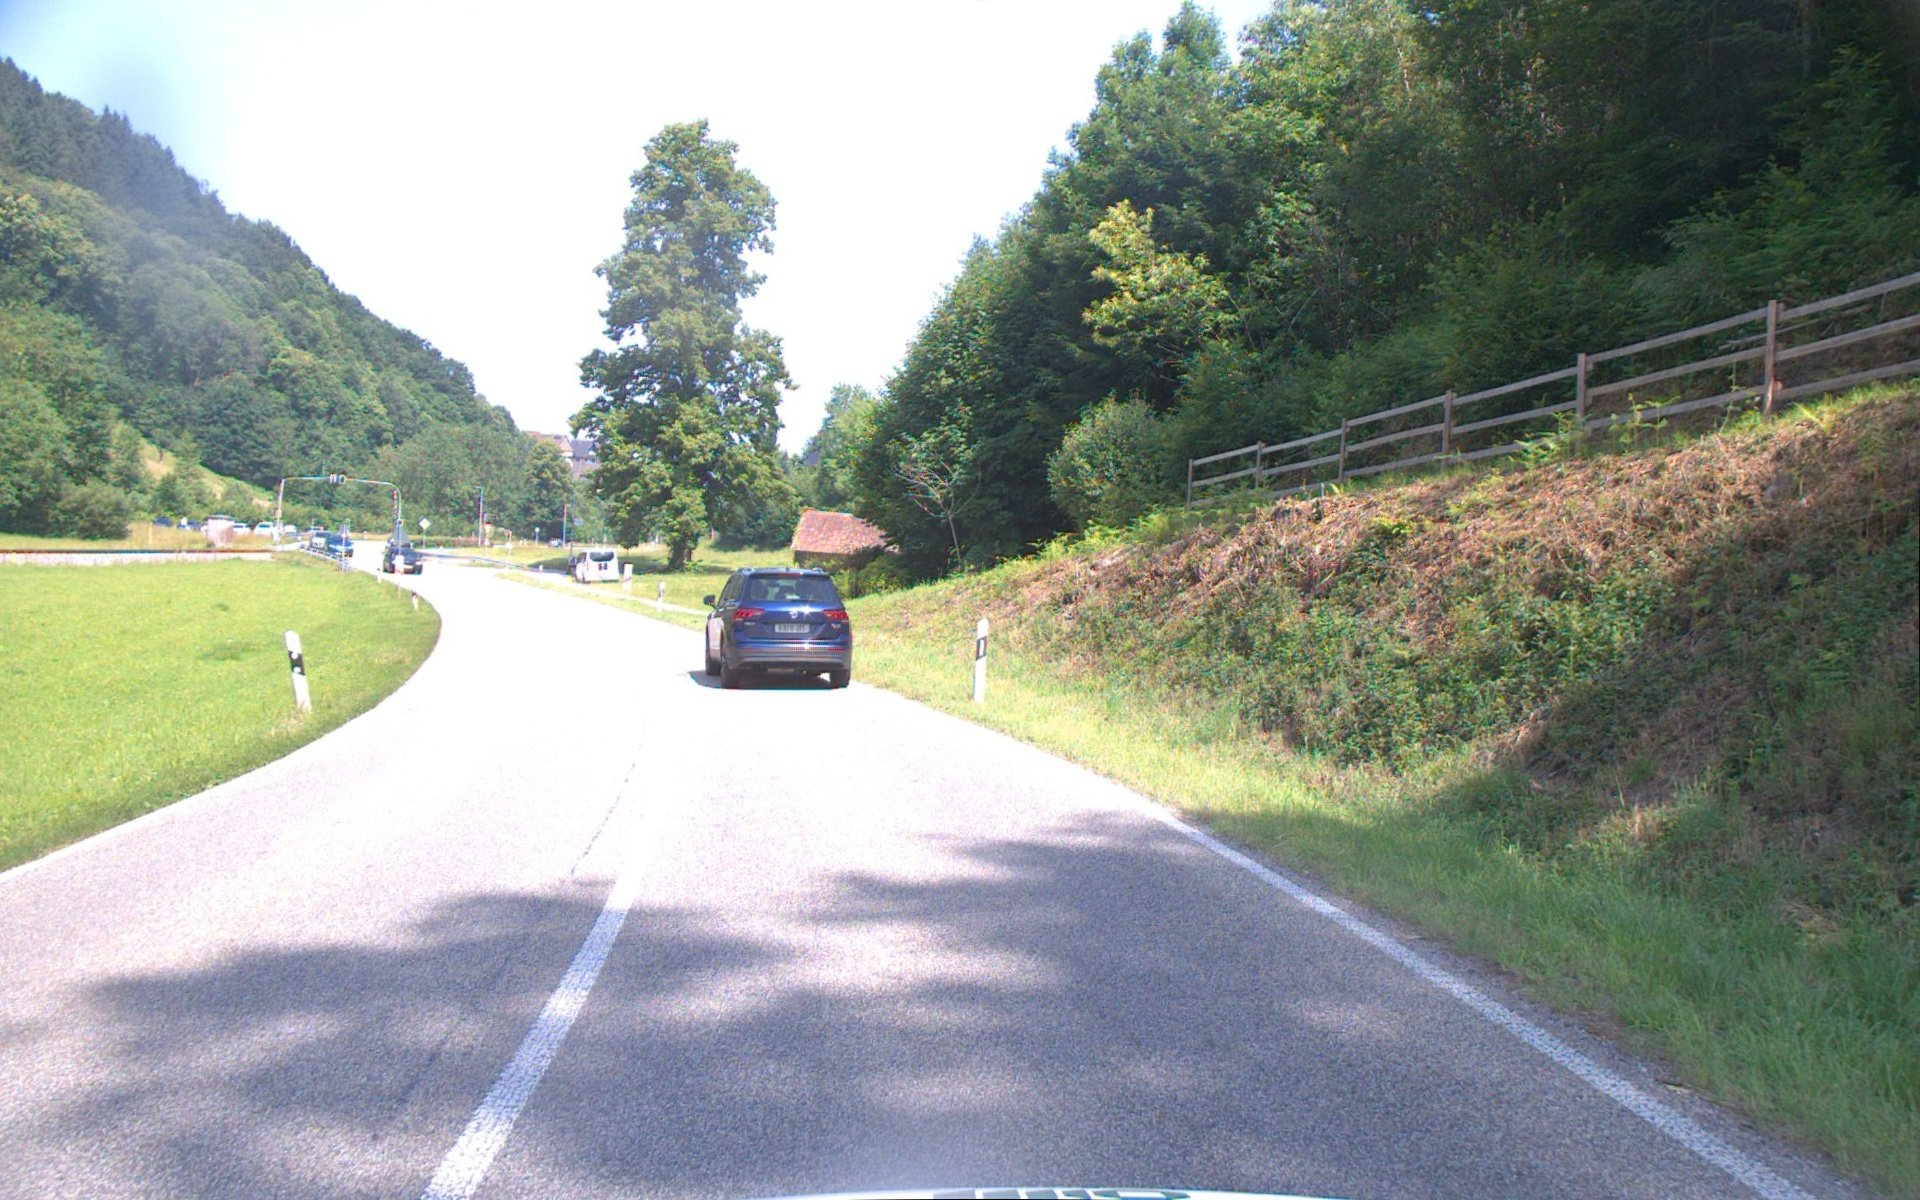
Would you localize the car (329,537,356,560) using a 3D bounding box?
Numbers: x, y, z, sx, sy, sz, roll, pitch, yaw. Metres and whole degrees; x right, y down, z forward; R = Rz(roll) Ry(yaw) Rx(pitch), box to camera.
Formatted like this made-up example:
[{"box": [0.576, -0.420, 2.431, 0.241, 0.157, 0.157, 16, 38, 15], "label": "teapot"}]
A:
[{"box": [-46.496, -3.874, 124.507, 1.839, 1.651, 4.482, 0, 2, -21], "label": "car"}]

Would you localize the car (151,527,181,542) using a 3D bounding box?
[{"box": [-87.255, -7.199, 181.792, 1.960, 1.526, 4.506, 2, 2, -14], "label": "car"}]

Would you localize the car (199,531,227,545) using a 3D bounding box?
[{"box": [-82.358, -6.837, 182.455, 1.960, 1.526, 4.506, 2, 2, -14], "label": "car"}]

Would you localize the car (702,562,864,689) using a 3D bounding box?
[{"box": [-2.665, 0.304, 24.057, 1.821, 1.678, 4.125, 0, 1, -14], "label": "car"}]

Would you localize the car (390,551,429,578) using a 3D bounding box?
[{"box": [-32.965, -2.124, 98.980, 1.890, 1.496, 4.481, 1, 2, -22], "label": "car"}]

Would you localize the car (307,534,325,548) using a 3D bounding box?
[{"box": [-71.841, -6.614, 184.468, 1.800, 1.526, 4.251, 1, 2, -21], "label": "car"}]

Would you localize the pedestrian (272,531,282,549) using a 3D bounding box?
[{"box": [-73.332, -6.437, 177.680, 0.772, 1.874, 0.698, 2, 2, -5], "label": "pedestrian"}]

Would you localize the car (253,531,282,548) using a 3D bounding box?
[{"box": [-77.308, -6.766, 184.641, 1.836, 1.813, 4.763, 3, 1, -9], "label": "car"}]

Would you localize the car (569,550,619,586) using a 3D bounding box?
[{"box": [-21.102, -1.871, 95.203, 1.972, 1.880, 4.837, -3, 3, -22], "label": "car"}]

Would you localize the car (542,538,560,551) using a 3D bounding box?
[{"box": [-62.522, -8.484, 252.890, 1.768, 1.646, 3.997, 3, -1, -3], "label": "car"}]

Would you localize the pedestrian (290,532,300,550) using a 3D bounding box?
[{"box": [-72.092, -6.400, 179.383, 0.634, 1.891, 0.771, 2, 1, 22], "label": "pedestrian"}]

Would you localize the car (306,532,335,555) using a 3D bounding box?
[{"box": [-52.977, -4.650, 136.946, 1.891, 1.744, 4.126, 3, 1, -26], "label": "car"}]
